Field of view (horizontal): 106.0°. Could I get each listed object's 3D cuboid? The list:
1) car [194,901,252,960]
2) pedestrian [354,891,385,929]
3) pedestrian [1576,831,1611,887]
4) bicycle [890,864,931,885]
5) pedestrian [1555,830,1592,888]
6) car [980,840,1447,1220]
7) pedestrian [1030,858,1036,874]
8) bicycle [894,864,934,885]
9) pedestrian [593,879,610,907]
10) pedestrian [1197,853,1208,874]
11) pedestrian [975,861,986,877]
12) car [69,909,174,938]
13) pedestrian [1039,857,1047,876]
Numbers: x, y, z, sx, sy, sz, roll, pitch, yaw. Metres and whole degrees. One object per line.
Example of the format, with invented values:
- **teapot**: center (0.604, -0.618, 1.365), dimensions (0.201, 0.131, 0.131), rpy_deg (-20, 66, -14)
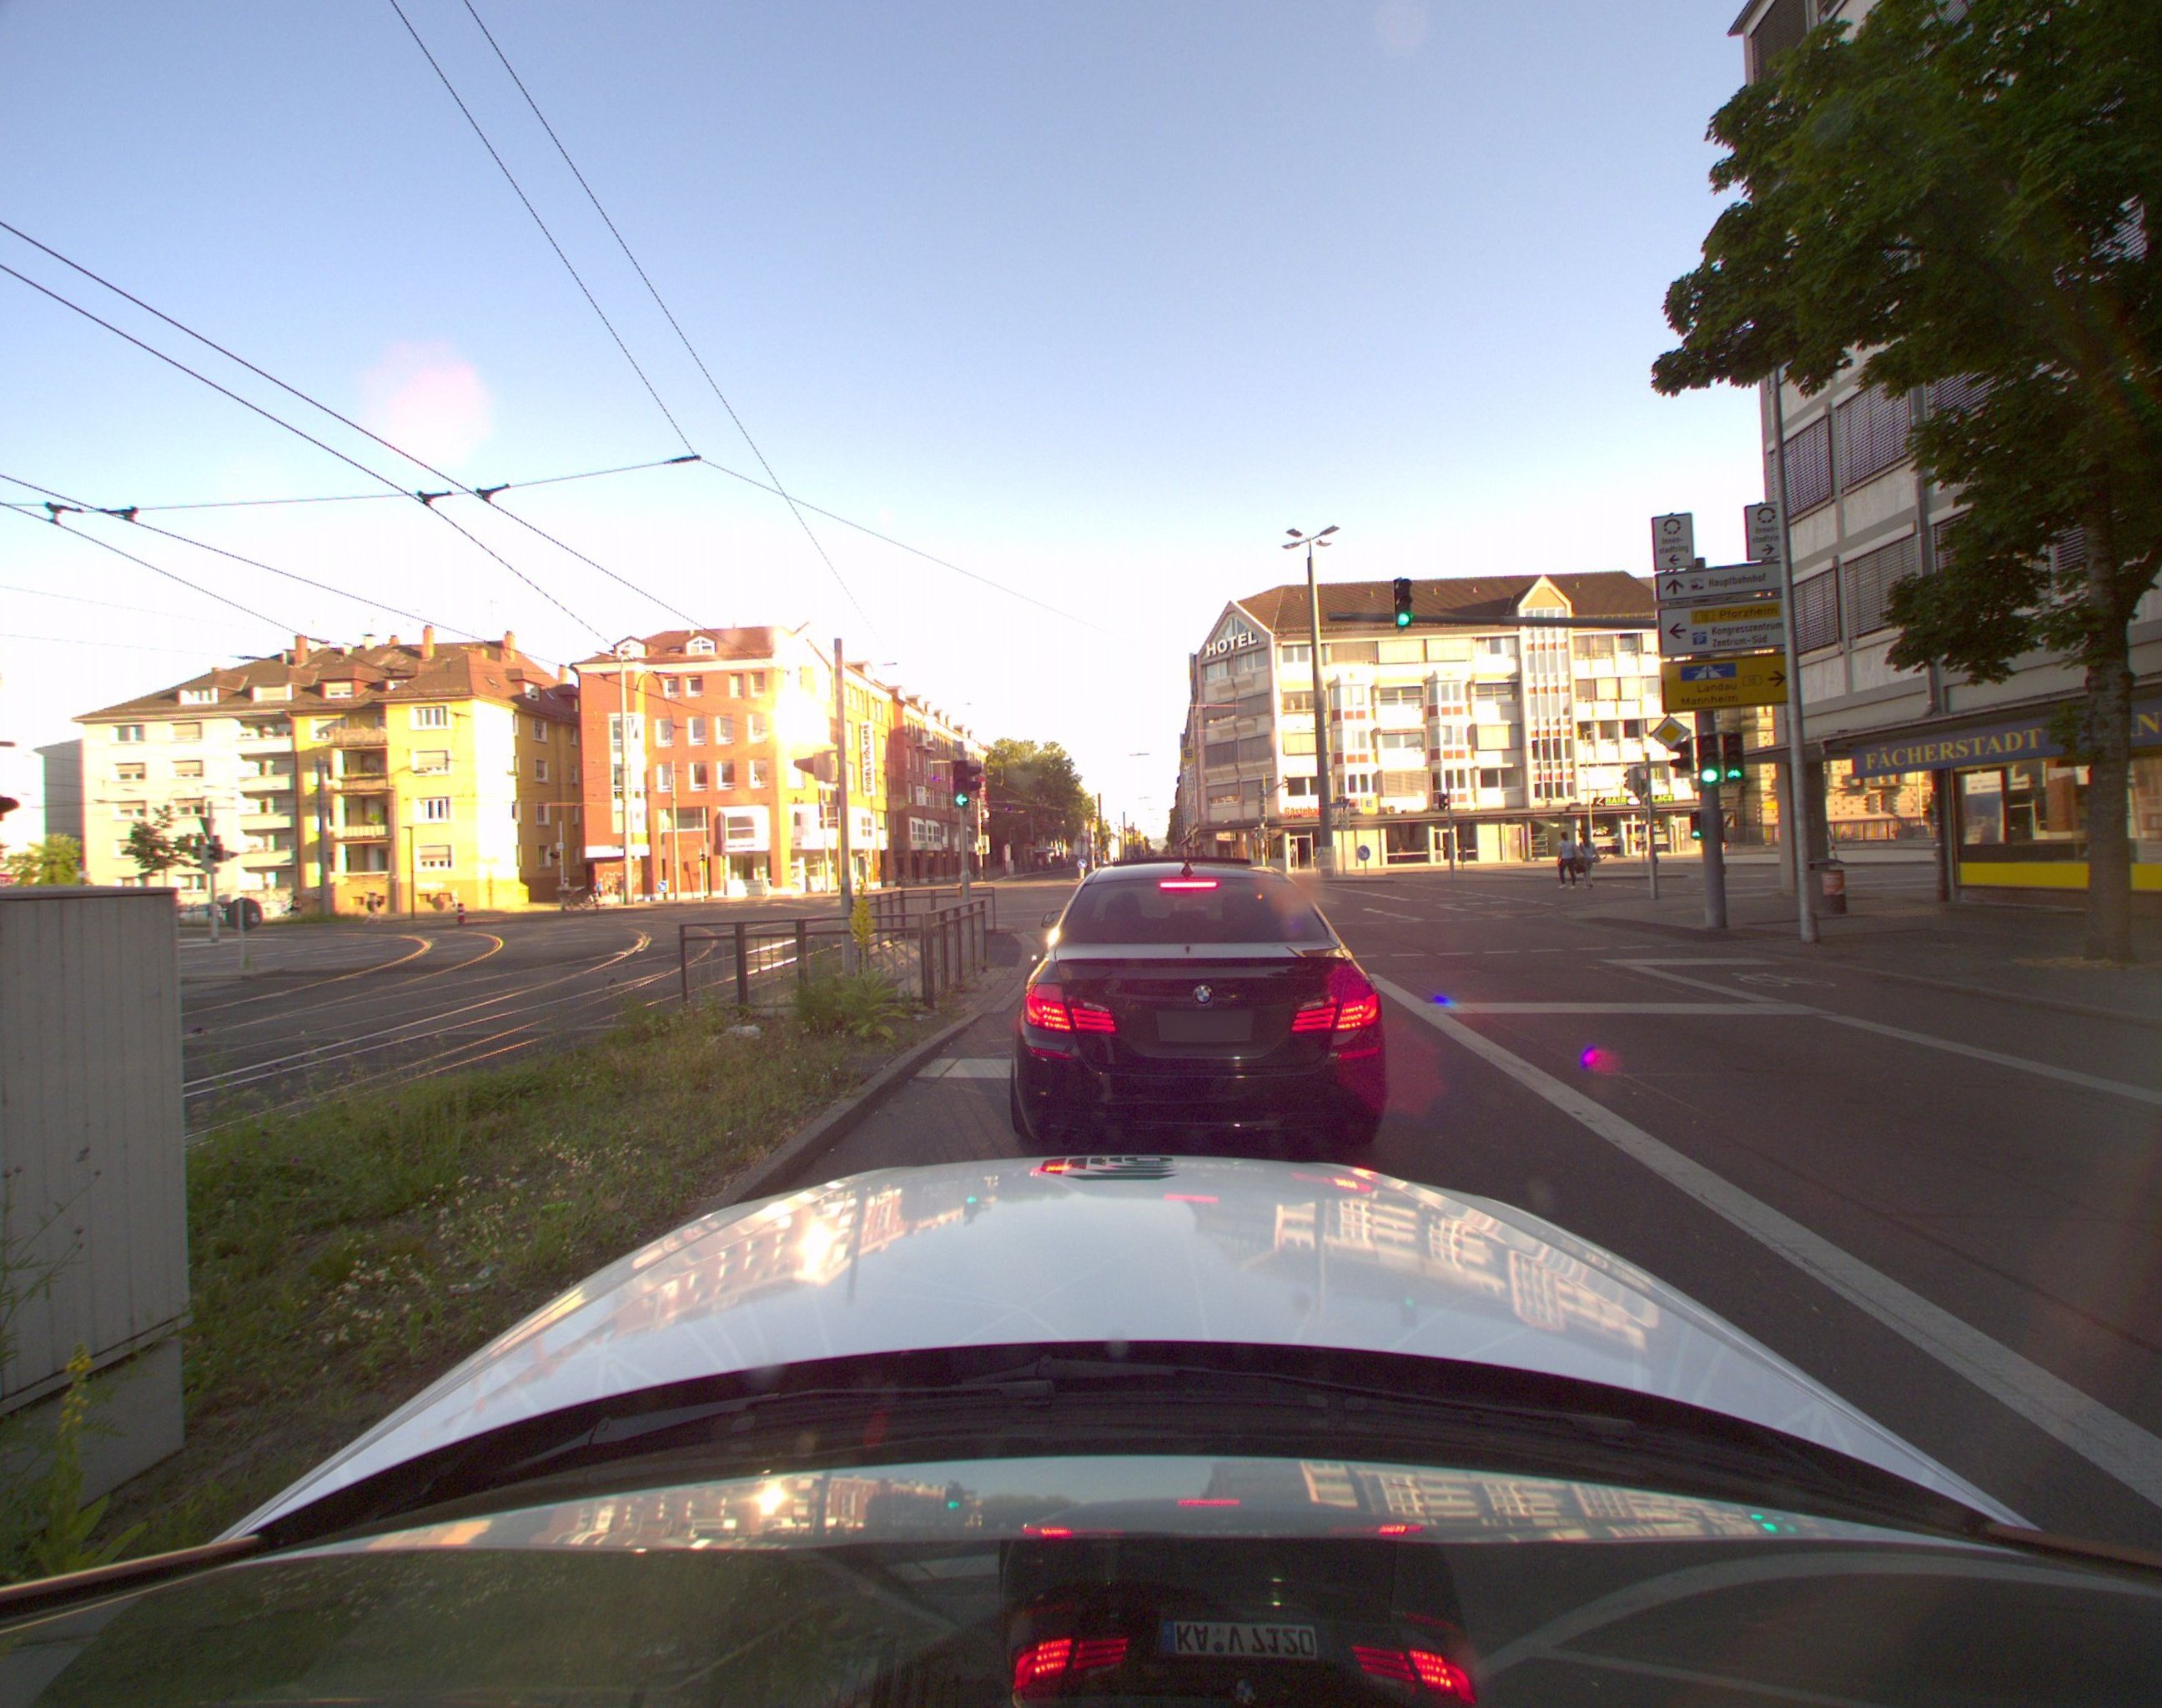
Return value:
- **car**: center (-57.526, 5.102, 54.625), dimensions (1.396, 3.565, 1.746), rpy_deg (-9, 1, 14)
- **pedestrian**: center (-29.998, 2.344, 34.334), dimensions (0.629, 1.541, 0.711), rpy_deg (-3, 0, 20)
- **pedestrian**: center (15.133, 0.147, 24.051), dimensions (0.696, 1.582, 0.831), rpy_deg (-3, -1, 41)
- **bicycle**: center (-15.163, 1.806, 72.393), dimensions (3.281, 1.726, 1.071), rpy_deg (-3, 0, 5)
- **pedestrian**: center (14.349, 0.143, 23.729), dimensions (0.718, 1.649, 0.776), rpy_deg (-3, -1, 41)
- **car**: center (0.587, 0.703, 5.367), dimensions (1.834, 1.495, 4.294), rpy_deg (0, 0, 2)
- **pedestrian**: center (-5.305, 1.337, 89.735), dimensions (0.582, 1.657, 0.678), rpy_deg (-3, 0, 2)
- **bicycle**: center (-15.039, 1.835, 73.558), dimensions (3.282, 1.726, 1.070), rpy_deg (-3, 0, 4)
- **pedestrian**: center (-32.100, 2.595, 54.564), dimensions (0.636, 1.778, 0.813), rpy_deg (-2, 0, -6)
- **pedestrian**: center (9.131, 0.697, 61.298), dimensions (0.703, 1.548, 0.907), rpy_deg (-1, 3, 2)
- **pedestrian**: center (-12.623, 1.903, 102.178), dimensions (1.081, 2.013, 1.085), rpy_deg (-3, 0, 1)
- **car**: center (-63.681, 4.597, 54.109), dimensions (4.321, 1.705, 2.118), rpy_deg (-2, -4, 0)
- **pedestrian**: center (-4.180, 1.332, 89.488), dimensions (0.805, 2.013, 0.678), rpy_deg (-3, 0, 2)
